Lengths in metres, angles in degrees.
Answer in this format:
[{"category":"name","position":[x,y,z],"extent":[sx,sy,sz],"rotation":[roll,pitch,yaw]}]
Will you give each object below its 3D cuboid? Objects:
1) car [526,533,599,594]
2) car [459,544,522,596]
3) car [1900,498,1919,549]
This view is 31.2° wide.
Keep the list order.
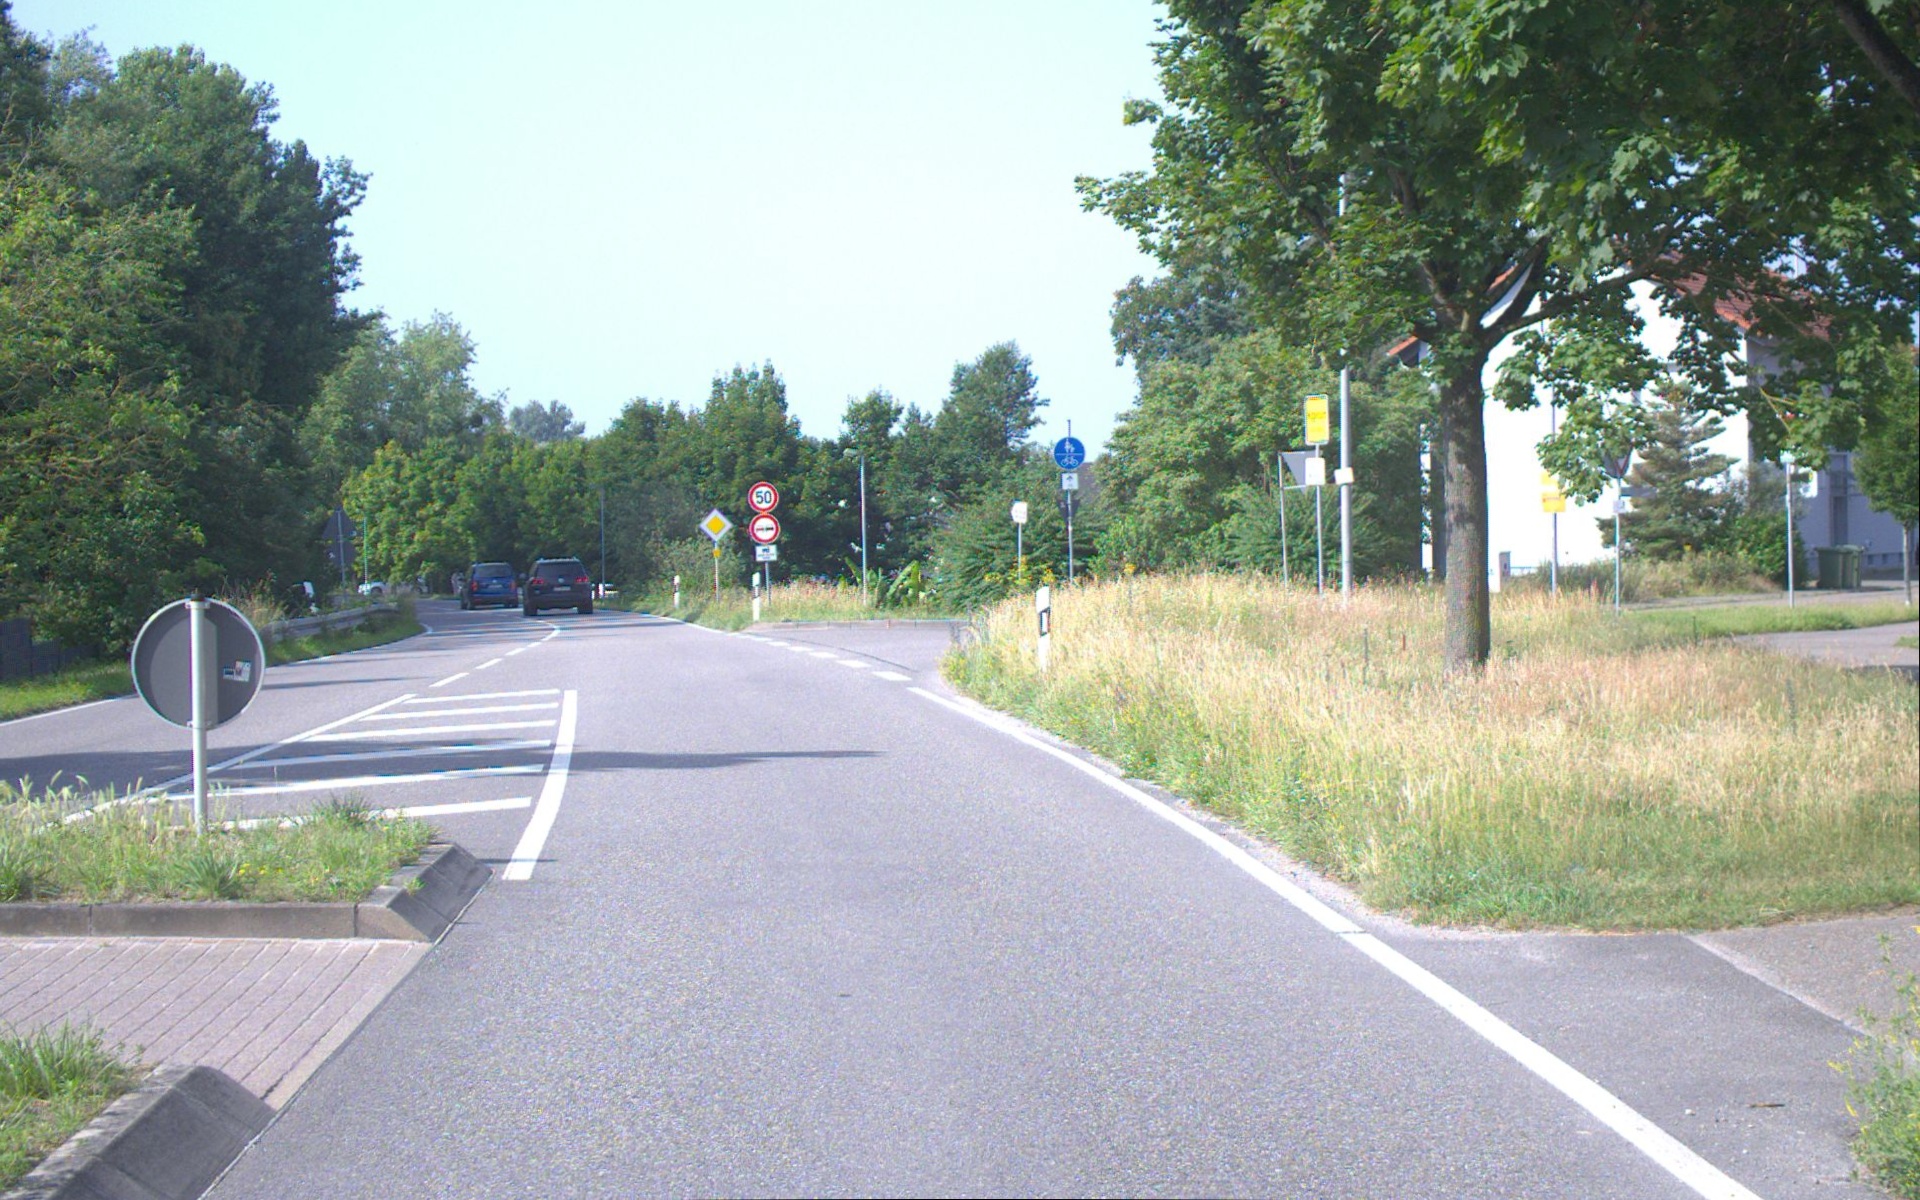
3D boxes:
[{"category":"car","position":[-11.985,-1.107,103.536],"extent":[1.925,1.765,4.001],"rotation":[-1,1,-10]},{"category":"car","position":[-16.908,-1.088,123.689],"extent":[2.003,1.765,4.001],"rotation":[-1,1,-10]},{"category":"car","position":[33.372,-2.503,113.021],"extent":[4.454,1.692,1.767],"rotation":[1,1,34]}]
